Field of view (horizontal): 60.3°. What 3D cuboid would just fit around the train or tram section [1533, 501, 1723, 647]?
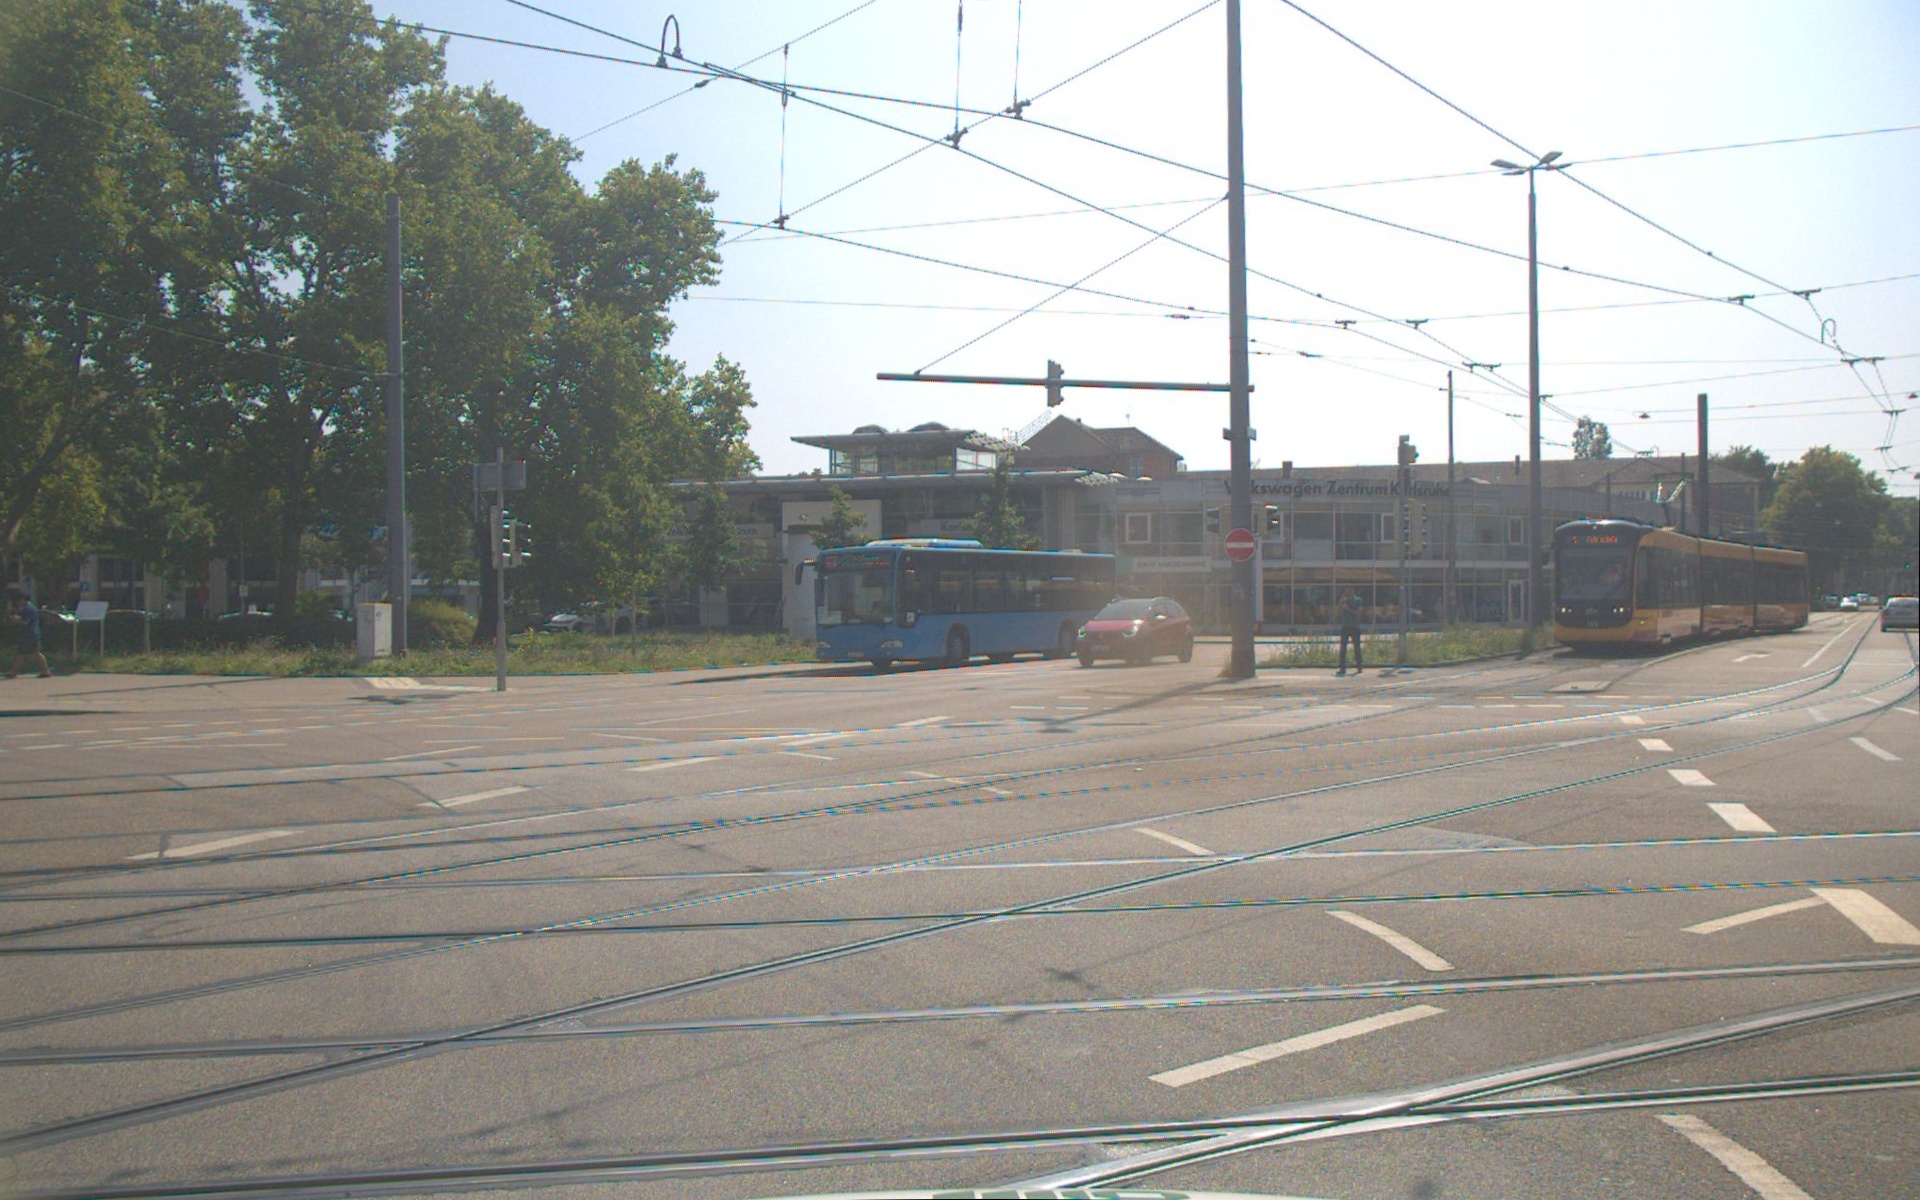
[{"bbox_3d":[19.165,-0.580,46.816,2.542,3.623,12.178,1,0,34],"label":"train or tram section"}]

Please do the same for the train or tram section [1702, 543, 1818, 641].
[{"bbox_3d":[32.630,-0.250,67.136,2.542,3.623,12.178,1,0,34],"label":"train or tram section"}]

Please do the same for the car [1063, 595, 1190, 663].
[{"bbox_3d":[3.978,0.644,39.063,1.594,1.497,3.764,0,0,30],"label":"car"}]

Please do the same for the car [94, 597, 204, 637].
[{"bbox_3d":[-35.963,0.746,73.417,3.981,1.695,1.789,-1,0,-5],"label":"car"}]

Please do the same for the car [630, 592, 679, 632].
[{"bbox_3d":[-16.581,0.611,90.109,2.282,2.049,6.797,1,0,-8],"label":"car"}]

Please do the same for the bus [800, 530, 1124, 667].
[{"bbox_3d":[0.481,-0.050,43.592,2.676,3.118,12.053,0,0,31],"label":"bus"}]

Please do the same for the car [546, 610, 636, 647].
[{"bbox_3d":[-18.854,1.459,84.569,4.224,1.784,1.690,-1,0,-43],"label":"car"}]

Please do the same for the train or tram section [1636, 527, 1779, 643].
[{"bbox_3d":[26.096,-0.410,57.306,2.542,3.623,12.178,1,0,34],"label":"train or tram section"}]

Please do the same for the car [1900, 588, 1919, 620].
[{"bbox_3d":[47.727,0.195,82.246,1.480,1.537,3.620,0,0,26],"label":"car"}]

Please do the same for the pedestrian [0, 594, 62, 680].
[{"bbox_3d":[-18.225,0.711,32.292,0.928,1.637,0.792,-1,0,-5],"label":"pedestrian"}]

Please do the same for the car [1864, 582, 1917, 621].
[{"bbox_3d":[40.263,0.085,71.626,1.698,1.601,3.609,1,0,26],"label":"car"}]

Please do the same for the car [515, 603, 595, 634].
[{"bbox_3d":[-21.441,0.965,87.741,1.955,1.534,3.995,0,0,28],"label":"car"}]

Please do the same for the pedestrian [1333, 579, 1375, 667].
[{"bbox_3d":[7.775,0.461,32.698,0.785,1.717,0.719,0,-3,13],"label":"pedestrian"}]
